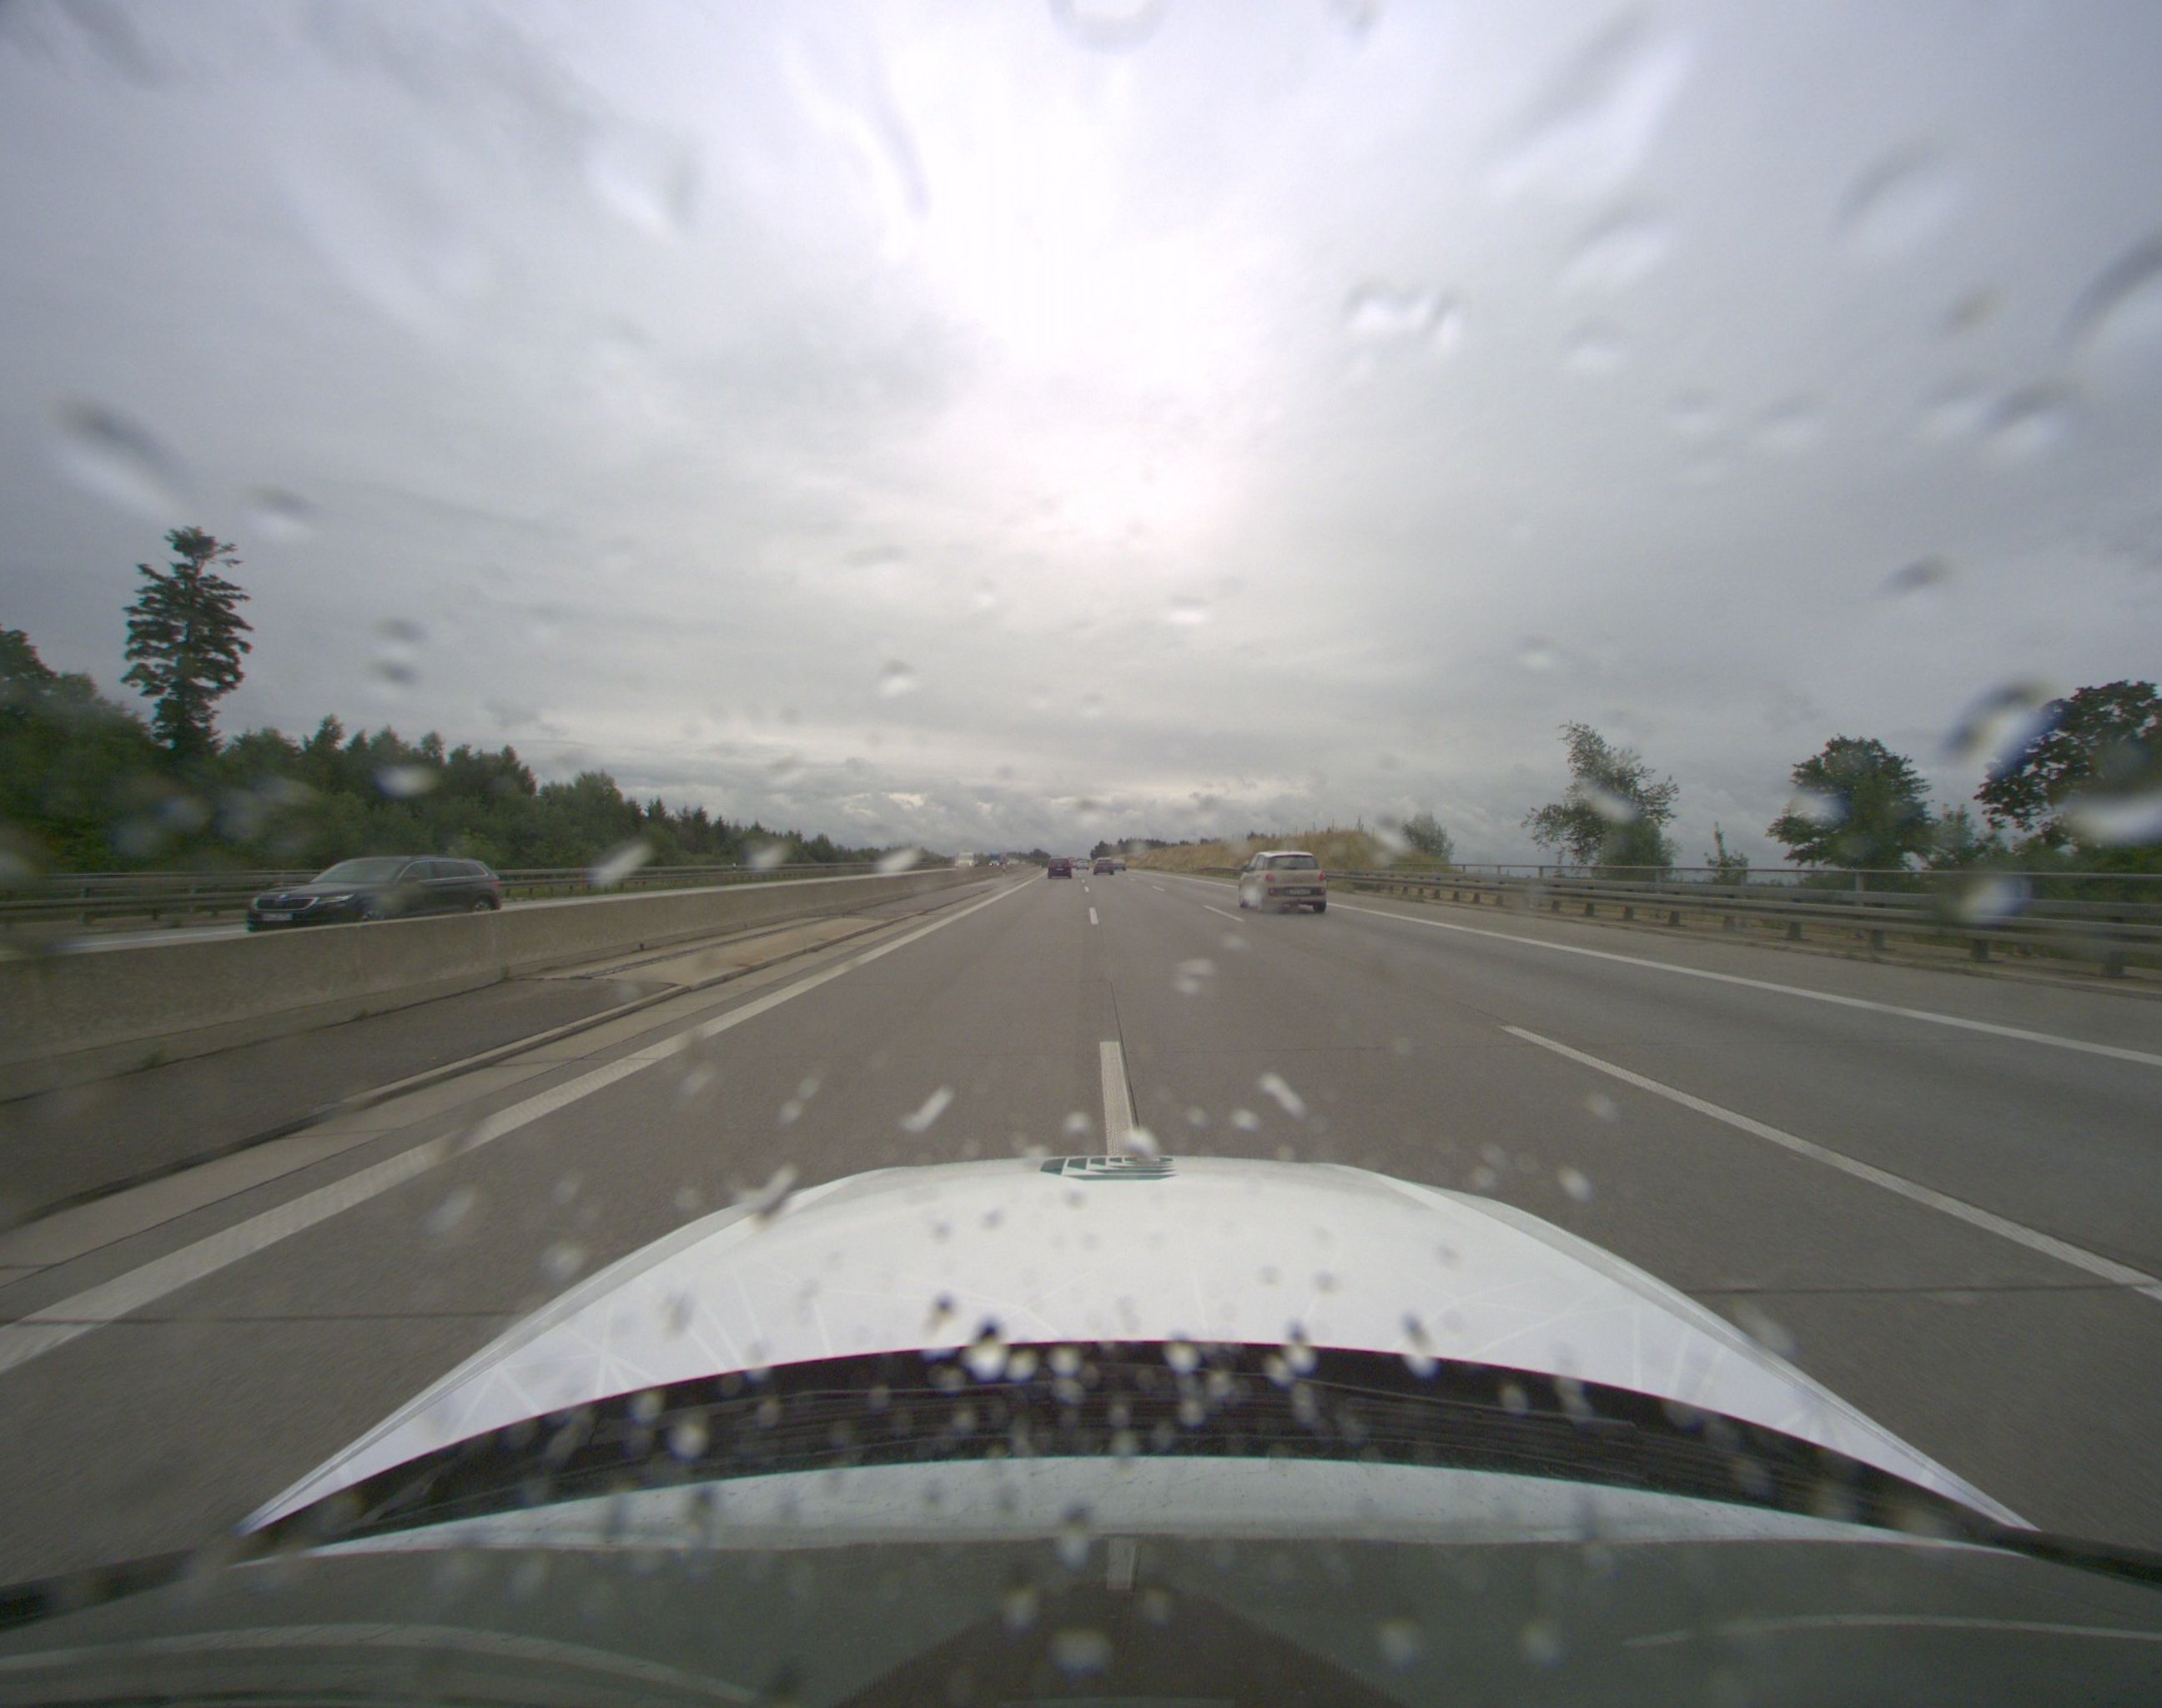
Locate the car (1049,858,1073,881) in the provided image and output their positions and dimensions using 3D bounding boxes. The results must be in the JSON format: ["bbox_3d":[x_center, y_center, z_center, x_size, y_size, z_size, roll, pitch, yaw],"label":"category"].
[{"bbox_3d":[-1.551,1.195,63.305,1.780,1.747,3.913,0,-1,-1],"label":"car"}]

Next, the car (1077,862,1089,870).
[{"bbox_3d":[0.329,1.875,125.990,1.791,1.123,4.000,0,0,1],"label":"car"}]

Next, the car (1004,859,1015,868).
[{"bbox_3d":[-13.453,1.791,153.762,1.737,1.566,4.497,0,-1,-1],"label":"car"}]

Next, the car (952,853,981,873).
[{"bbox_3d":[-14.501,1.148,103.663,2.612,2.400,7.515,0,-1,0],"label":"car"}]

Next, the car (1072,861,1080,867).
[{"bbox_3d":[-1.077,2.100,174.468,1.791,1.221,4.000,0,-1,1],"label":"car"}]

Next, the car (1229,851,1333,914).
[{"bbox_3d":[5.539,0.742,23.123,1.780,1.605,4.568,0,-1,-1],"label":"car"}]

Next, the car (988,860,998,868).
[{"bbox_3d":[-17.482,2.020,161.612,1.625,1.566,4.408,0,-1,-1],"label":"car"}]

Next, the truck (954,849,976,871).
[{"bbox_3d":[-21.196,1.159,148.619,2.891,3.864,8.894,0,-1,-1],"label":"truck"}]

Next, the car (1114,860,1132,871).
[{"bbox_3d":[5.488,1.503,106.596,2.008,1.446,4.742,0,-1,-1],"label":"car"}]

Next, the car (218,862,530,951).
[{"bbox_3d":[-13.979,0.931,16.666,1.822,1.534,5.092,0,-1,2],"label":"car"}]

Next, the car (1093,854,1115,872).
[{"bbox_3d":[2.147,0.832,78.302,1.892,1.690,5.263,0,-1,-1],"label":"car"}]
